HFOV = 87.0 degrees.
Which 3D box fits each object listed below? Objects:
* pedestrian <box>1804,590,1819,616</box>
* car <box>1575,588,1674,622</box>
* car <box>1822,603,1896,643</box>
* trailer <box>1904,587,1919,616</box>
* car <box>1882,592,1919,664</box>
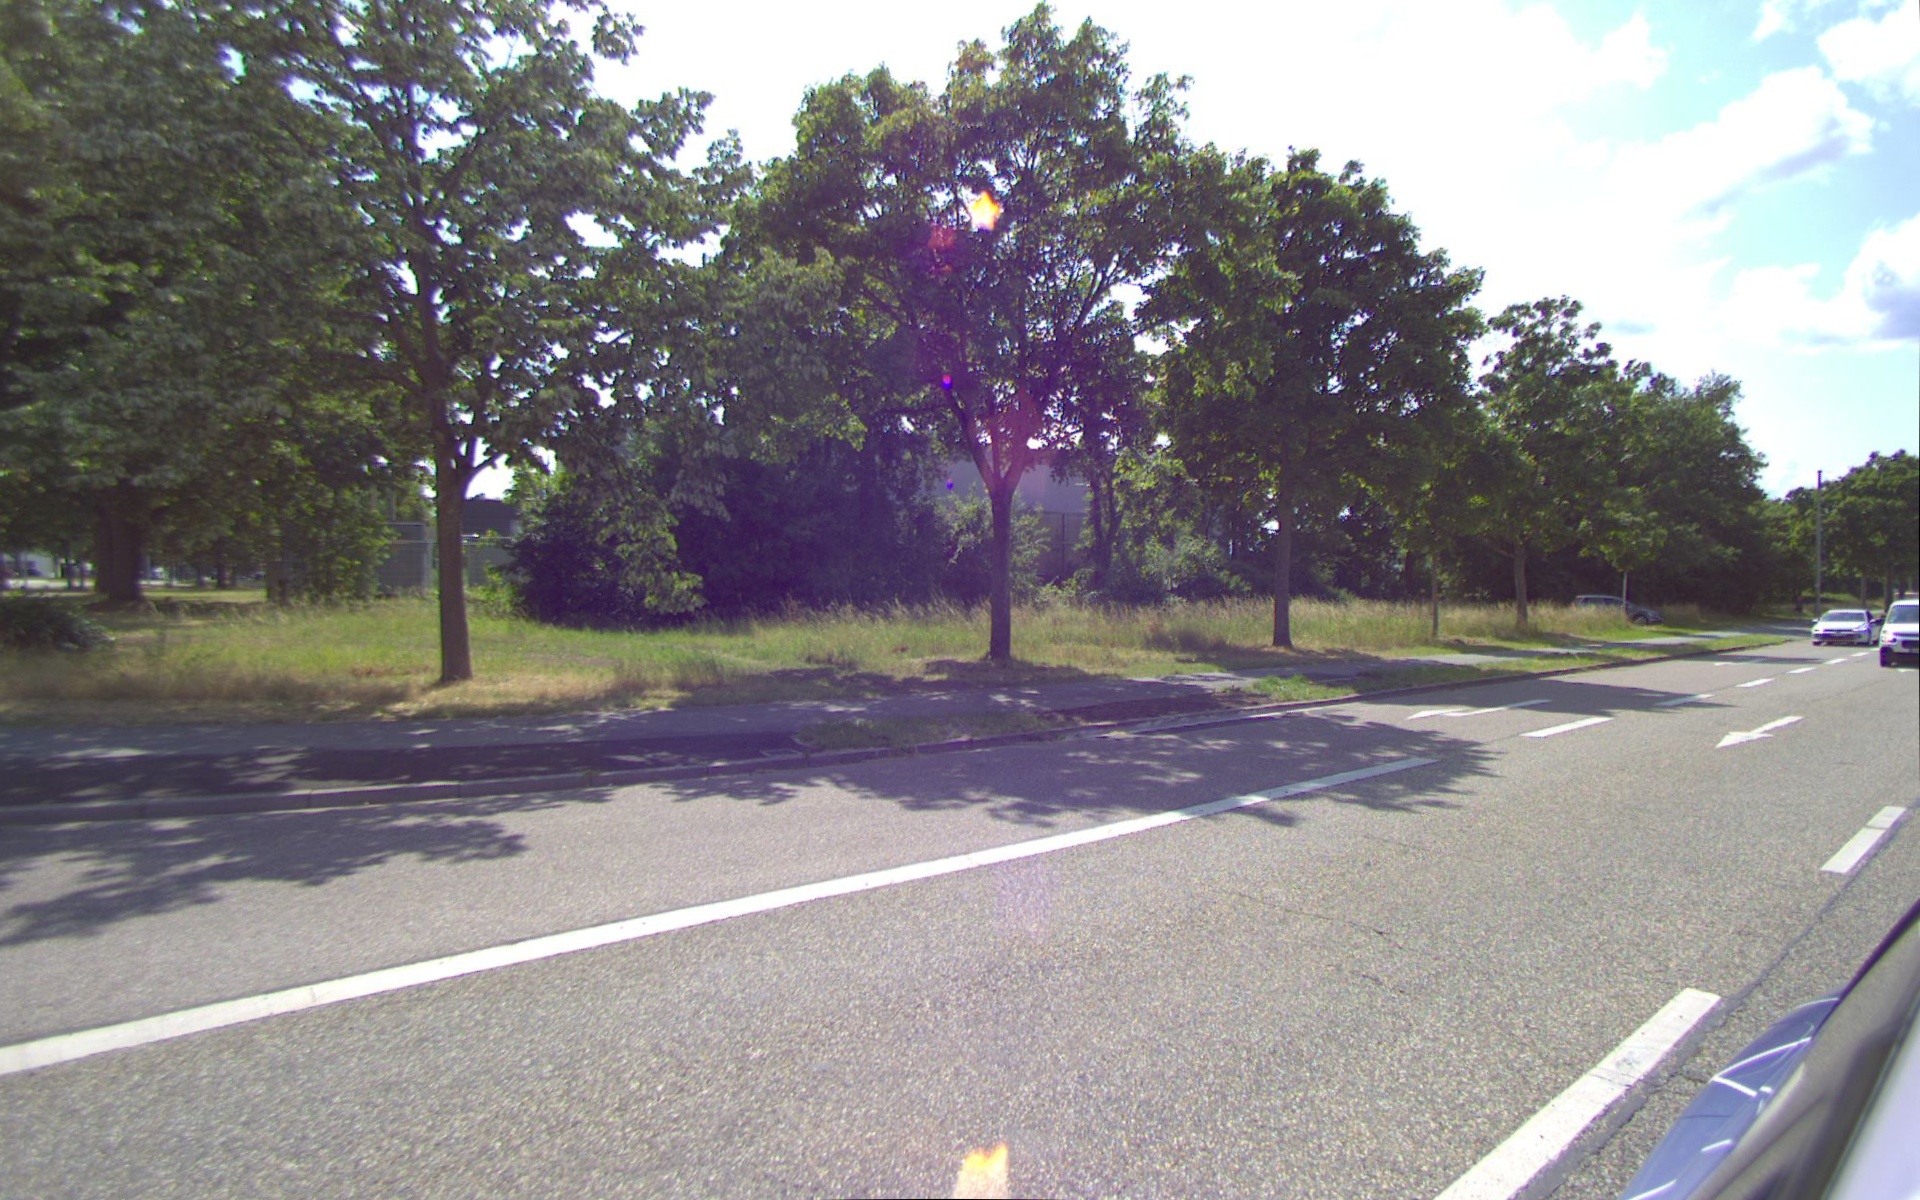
[{"bbox_3d":[60.244,0.193,71.606,0.728,1.817,0.717,-1,-1,-44],"label":"pedestrian"},{"bbox_3d":[35.599,0.271,54.273,4.165,1.511,1.756,5,2,44],"label":"car"},{"bbox_3d":[36.426,0.905,40.987,4.020,1.505,1.735,0,0,-41],"label":"car"},{"bbox_3d":[82.055,0.137,86.432,1.954,2.380,4.532,3,2,45],"label":"trailer"},{"bbox_3d":[26.053,0.706,26.840,4.635,1.808,1.933,0,-2,-42],"label":"car"}]
